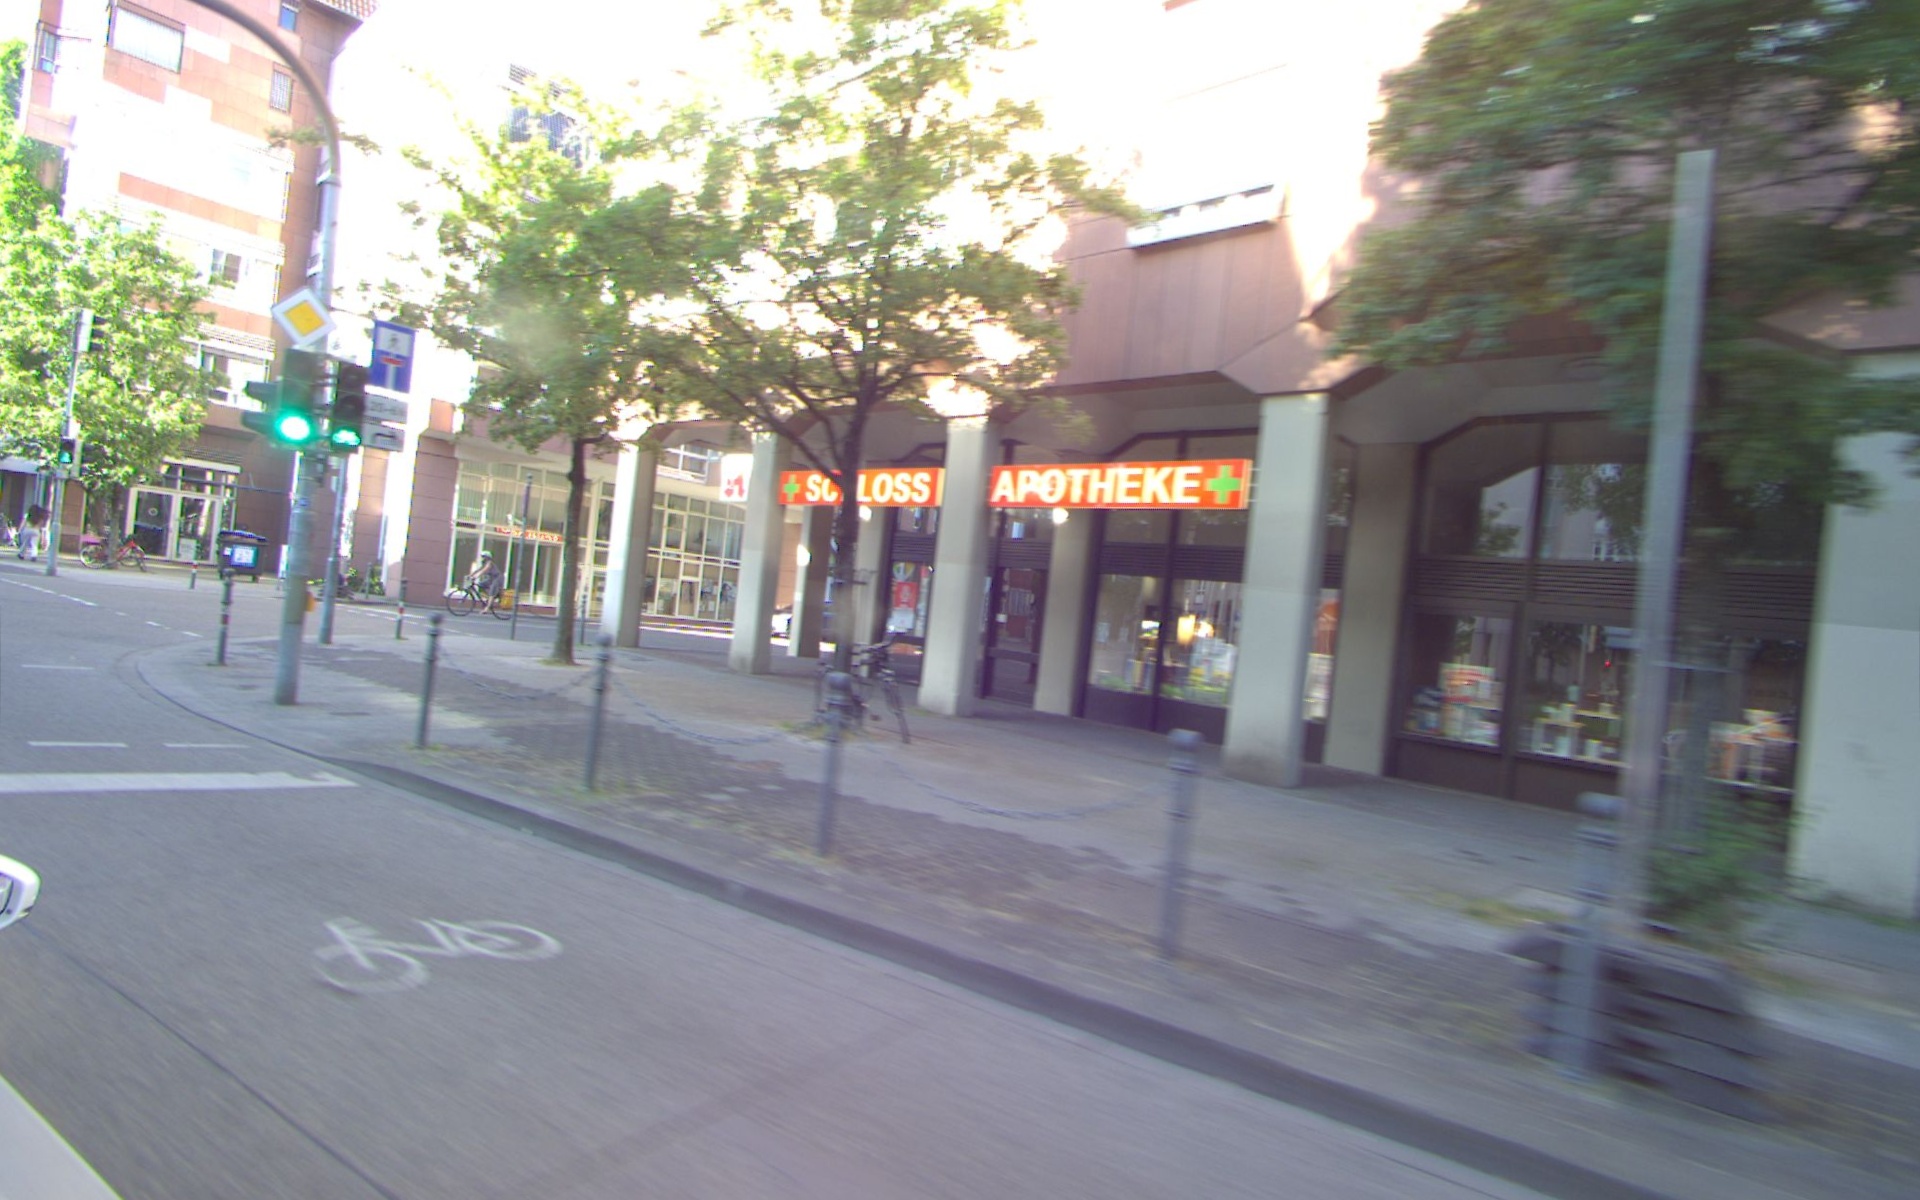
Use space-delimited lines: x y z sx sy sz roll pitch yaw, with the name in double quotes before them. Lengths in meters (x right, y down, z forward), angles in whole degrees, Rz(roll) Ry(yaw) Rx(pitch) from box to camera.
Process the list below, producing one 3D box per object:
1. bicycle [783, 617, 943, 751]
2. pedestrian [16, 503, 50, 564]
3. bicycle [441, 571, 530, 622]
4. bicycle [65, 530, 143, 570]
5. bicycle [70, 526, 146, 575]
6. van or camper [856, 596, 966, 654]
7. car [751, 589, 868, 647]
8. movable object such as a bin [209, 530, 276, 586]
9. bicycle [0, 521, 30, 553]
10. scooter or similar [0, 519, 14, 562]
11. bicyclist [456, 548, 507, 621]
"bicycle" -1.131 0.917 11.349 0.620 1.240 1.902 7 0 -45
"pedestrian" -27.146 -1.937 29.468 0.669 1.693 0.459 6 0 33
"bicycle" -12.583 -0.076 26.726 0.792 1.126 1.913 6 -1 40
"bicycle" -27.508 -1.598 32.368 1.733 1.066 0.734 7 -1 -31
"bicycle" -25.417 -1.464 30.040 0.569 1.242 1.566 6 -1 38
"van or camper" -2.019 1.083 42.666 1.778 1.996 4.552 6 -1 43
"car" -5.686 0.702 38.378 1.776 1.742 4.180 6 -1 41
"movable object such as a bin" -21.952 -1.276 30.793 0.860 1.500 1.407 6 -1 44
"bicycle" -32.361 -2.179 34.199 1.725 0.951 0.737 6 0 37
"scooter or similar" -27.992 -1.755 29.290 1.231 1.172 0.394 6 0 38
"bicyclist" -12.645 -0.408 26.607 0.777 1.792 0.824 6 0 41
